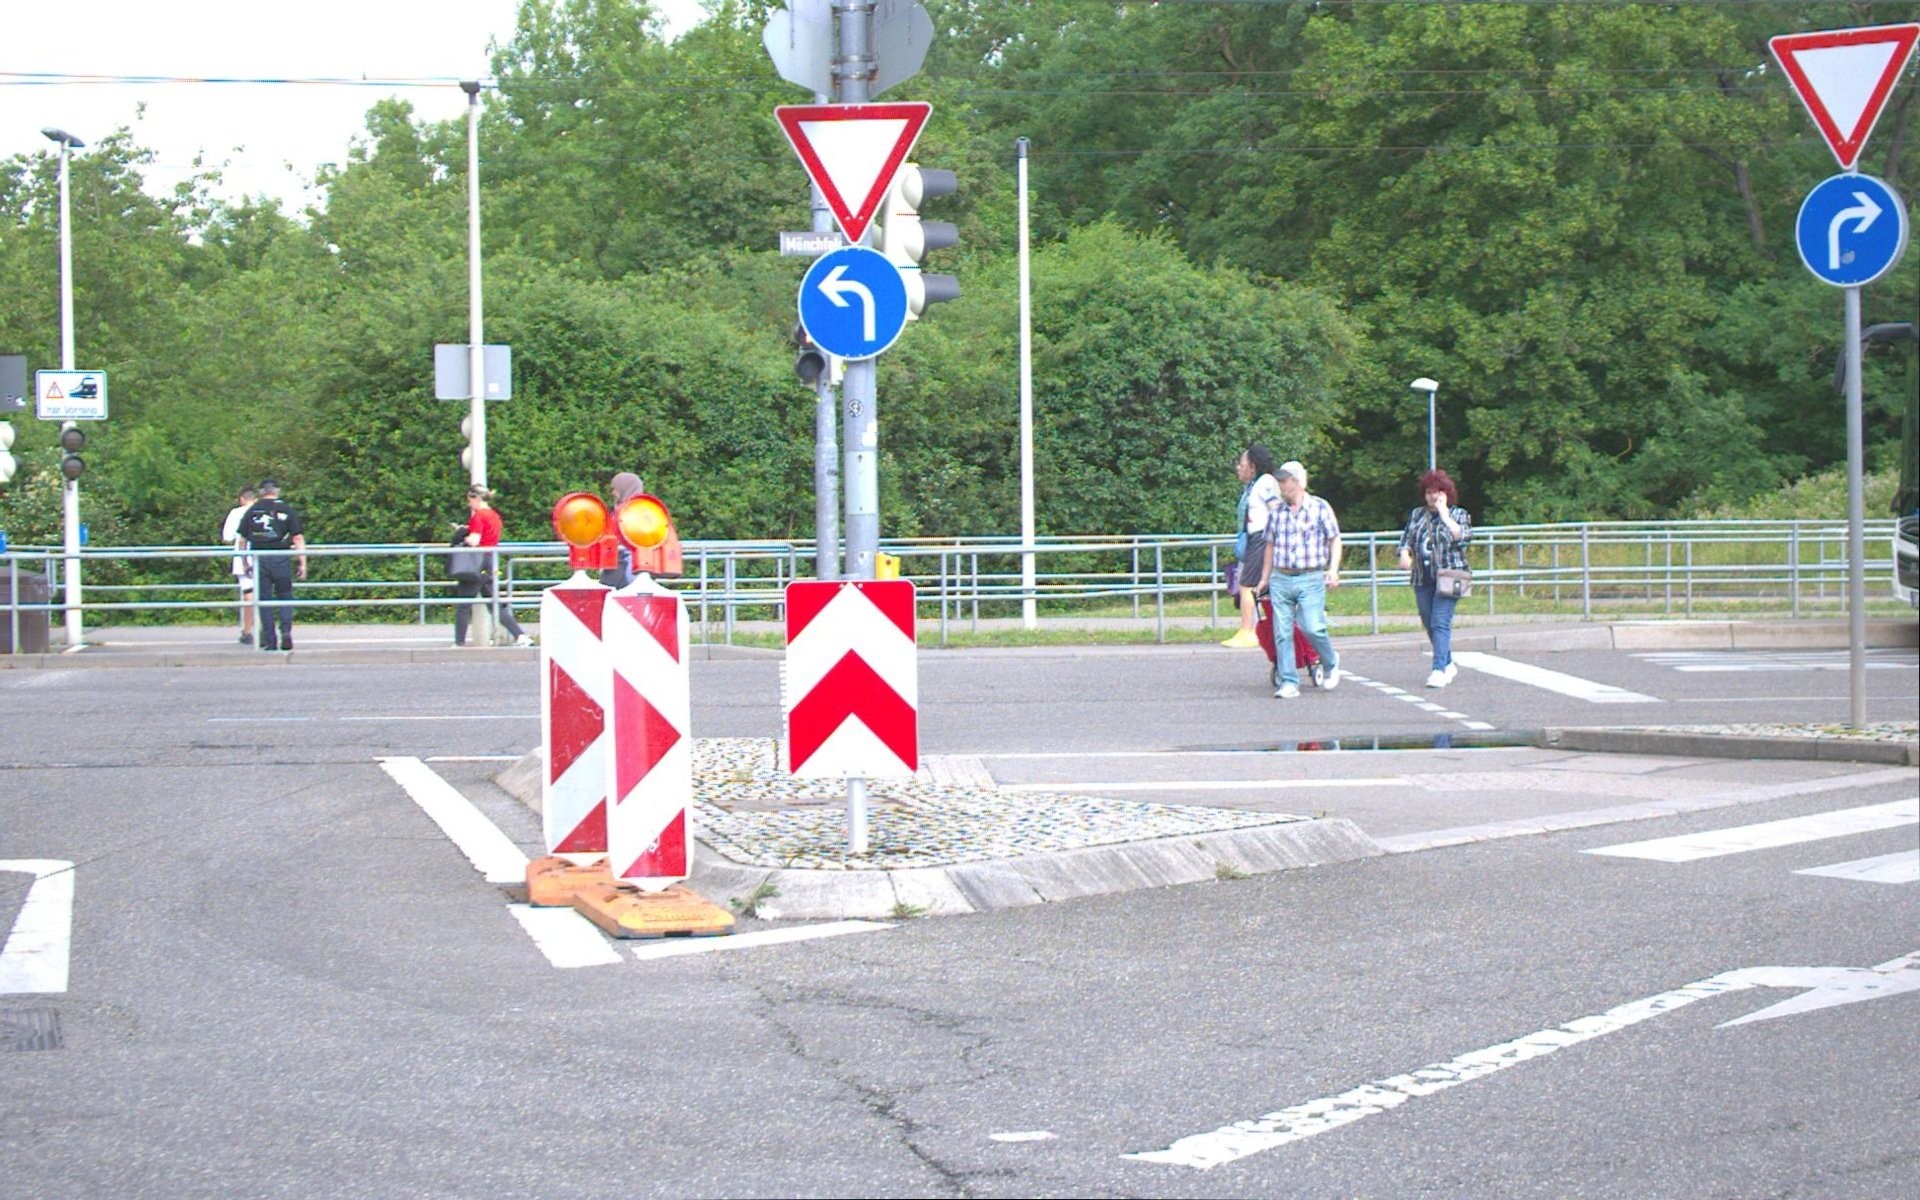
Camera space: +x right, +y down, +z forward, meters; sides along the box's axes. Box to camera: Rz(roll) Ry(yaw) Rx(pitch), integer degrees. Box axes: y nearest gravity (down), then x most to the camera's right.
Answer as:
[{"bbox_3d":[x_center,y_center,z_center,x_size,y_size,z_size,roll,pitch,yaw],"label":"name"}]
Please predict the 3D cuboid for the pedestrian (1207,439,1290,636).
[{"bbox_3d":[2.582,-0.568,30.826,0.720,1.741,0.957,0,2,4],"label":"pedestrian"}]

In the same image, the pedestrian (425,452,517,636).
[{"bbox_3d":[-4.349,-0.508,30.617,0.720,1.615,0.805,0,2,-2],"label":"pedestrian"}]

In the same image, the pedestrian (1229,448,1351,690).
[{"bbox_3d":[2.266,-0.221,23.555,0.697,1.628,0.722,0,2,17],"label":"pedestrian"}]

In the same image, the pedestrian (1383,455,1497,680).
[{"bbox_3d":[3.398,-0.243,24.312,0.690,1.561,0.732,1,2,17],"label":"pedestrian"}]

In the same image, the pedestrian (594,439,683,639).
[{"bbox_3d":[-2.842,-0.548,30.428,0.720,1.741,0.957,0,2,-2],"label":"pedestrian"}]

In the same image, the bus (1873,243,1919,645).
[{"bbox_3d":[13.707,-1.309,27.403,12.158,3.192,2.675,-1,2,-1],"label":"bus"}]

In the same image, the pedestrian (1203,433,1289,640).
[{"bbox_3d":[2.446,-0.551,29.443,0.720,1.741,0.957,0,2,4],"label":"pedestrian"}]

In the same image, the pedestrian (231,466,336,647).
[{"bbox_3d":[-6.583,-0.430,33.500,0.954,1.741,0.723,0,2,-8],"label":"pedestrian"}]
